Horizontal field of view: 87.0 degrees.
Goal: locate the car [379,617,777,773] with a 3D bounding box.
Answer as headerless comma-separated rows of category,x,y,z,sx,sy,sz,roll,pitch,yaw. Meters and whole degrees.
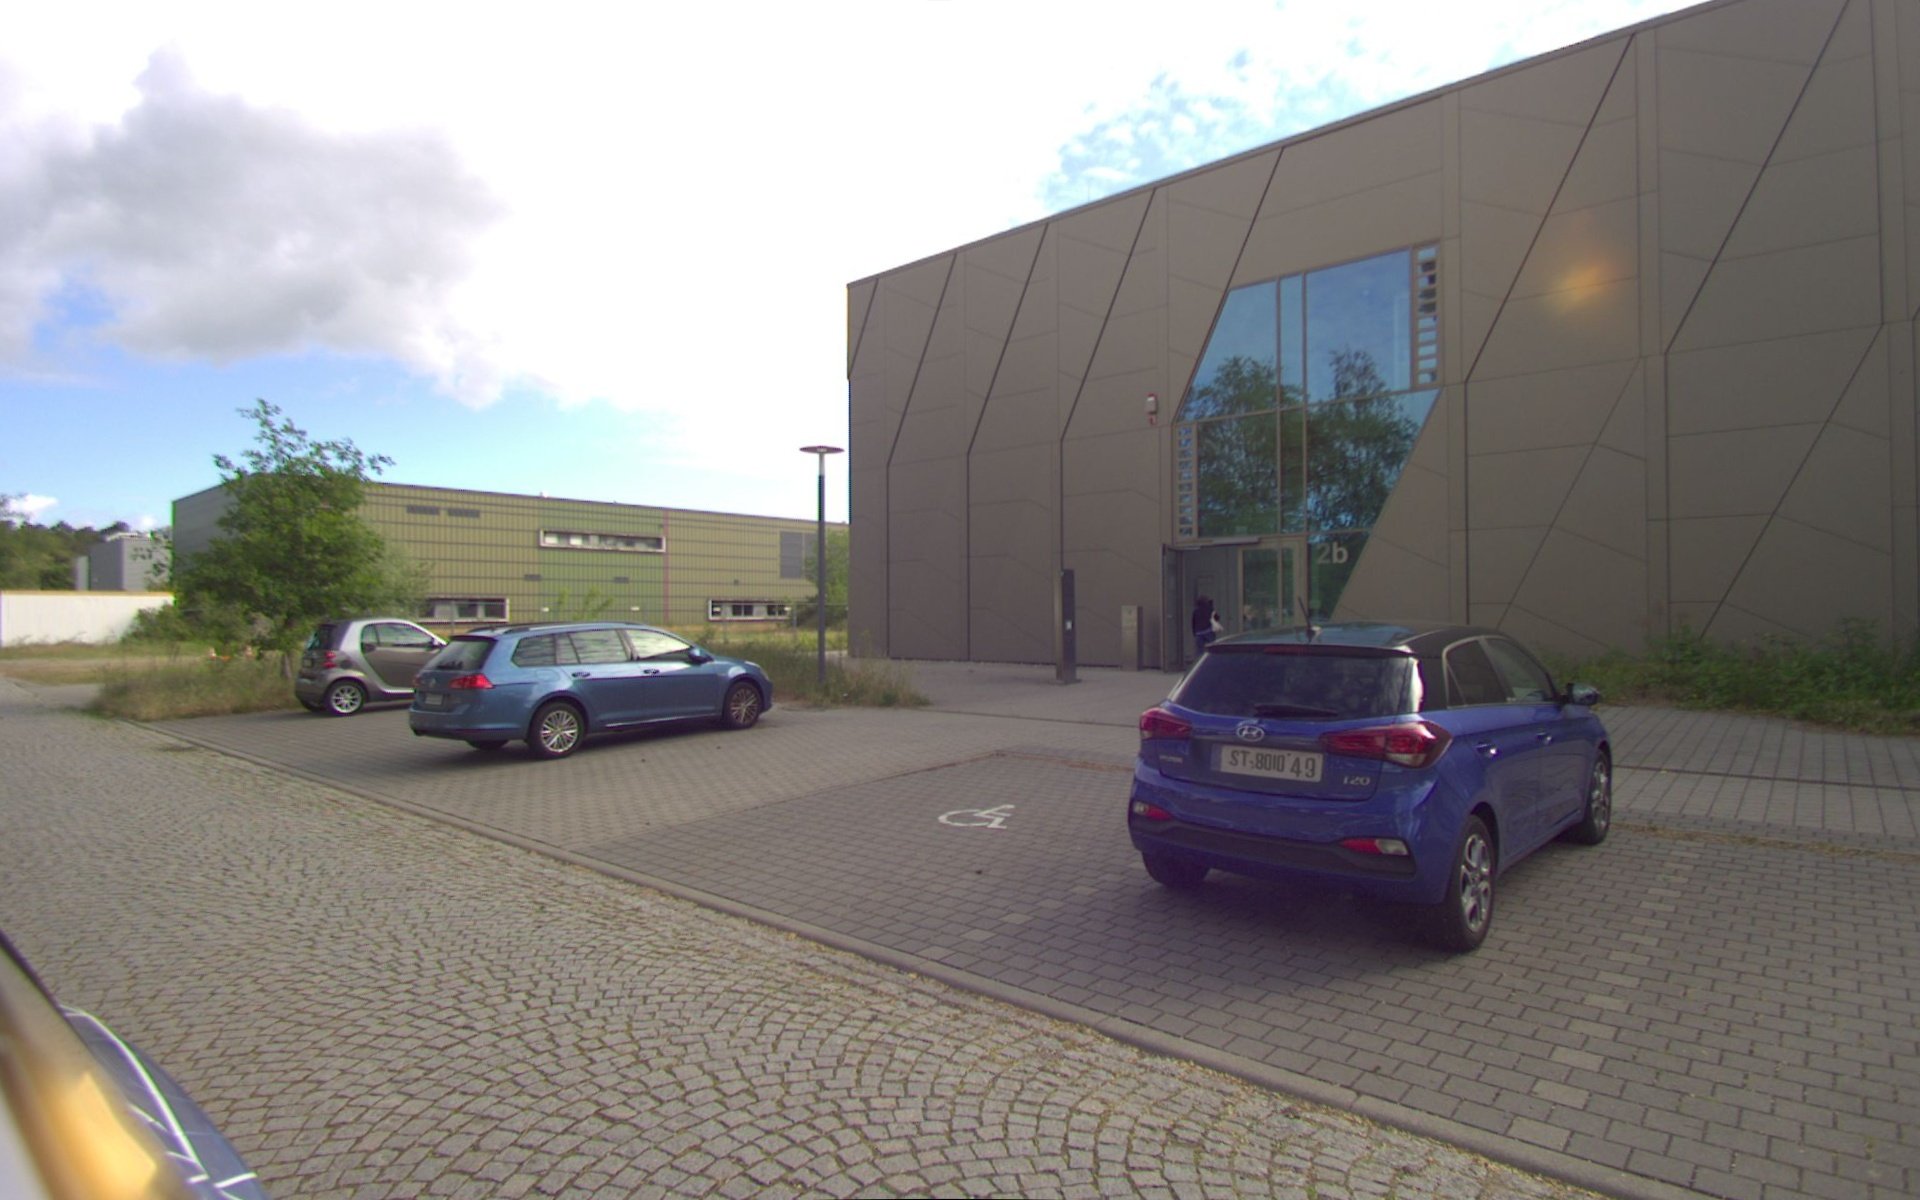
car,-4.441,0.994,12.365,1.771,1.439,4.265,-1,0,38

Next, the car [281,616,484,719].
car,-9.827,1.082,17.309,1.609,1.522,2.627,-2,0,40

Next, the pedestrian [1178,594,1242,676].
pedestrian,4.737,0.647,19.151,0.818,1.506,0.973,-1,0,39

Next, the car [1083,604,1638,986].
car,2.618,0.817,6.134,1.852,1.489,3.724,-2,0,44
